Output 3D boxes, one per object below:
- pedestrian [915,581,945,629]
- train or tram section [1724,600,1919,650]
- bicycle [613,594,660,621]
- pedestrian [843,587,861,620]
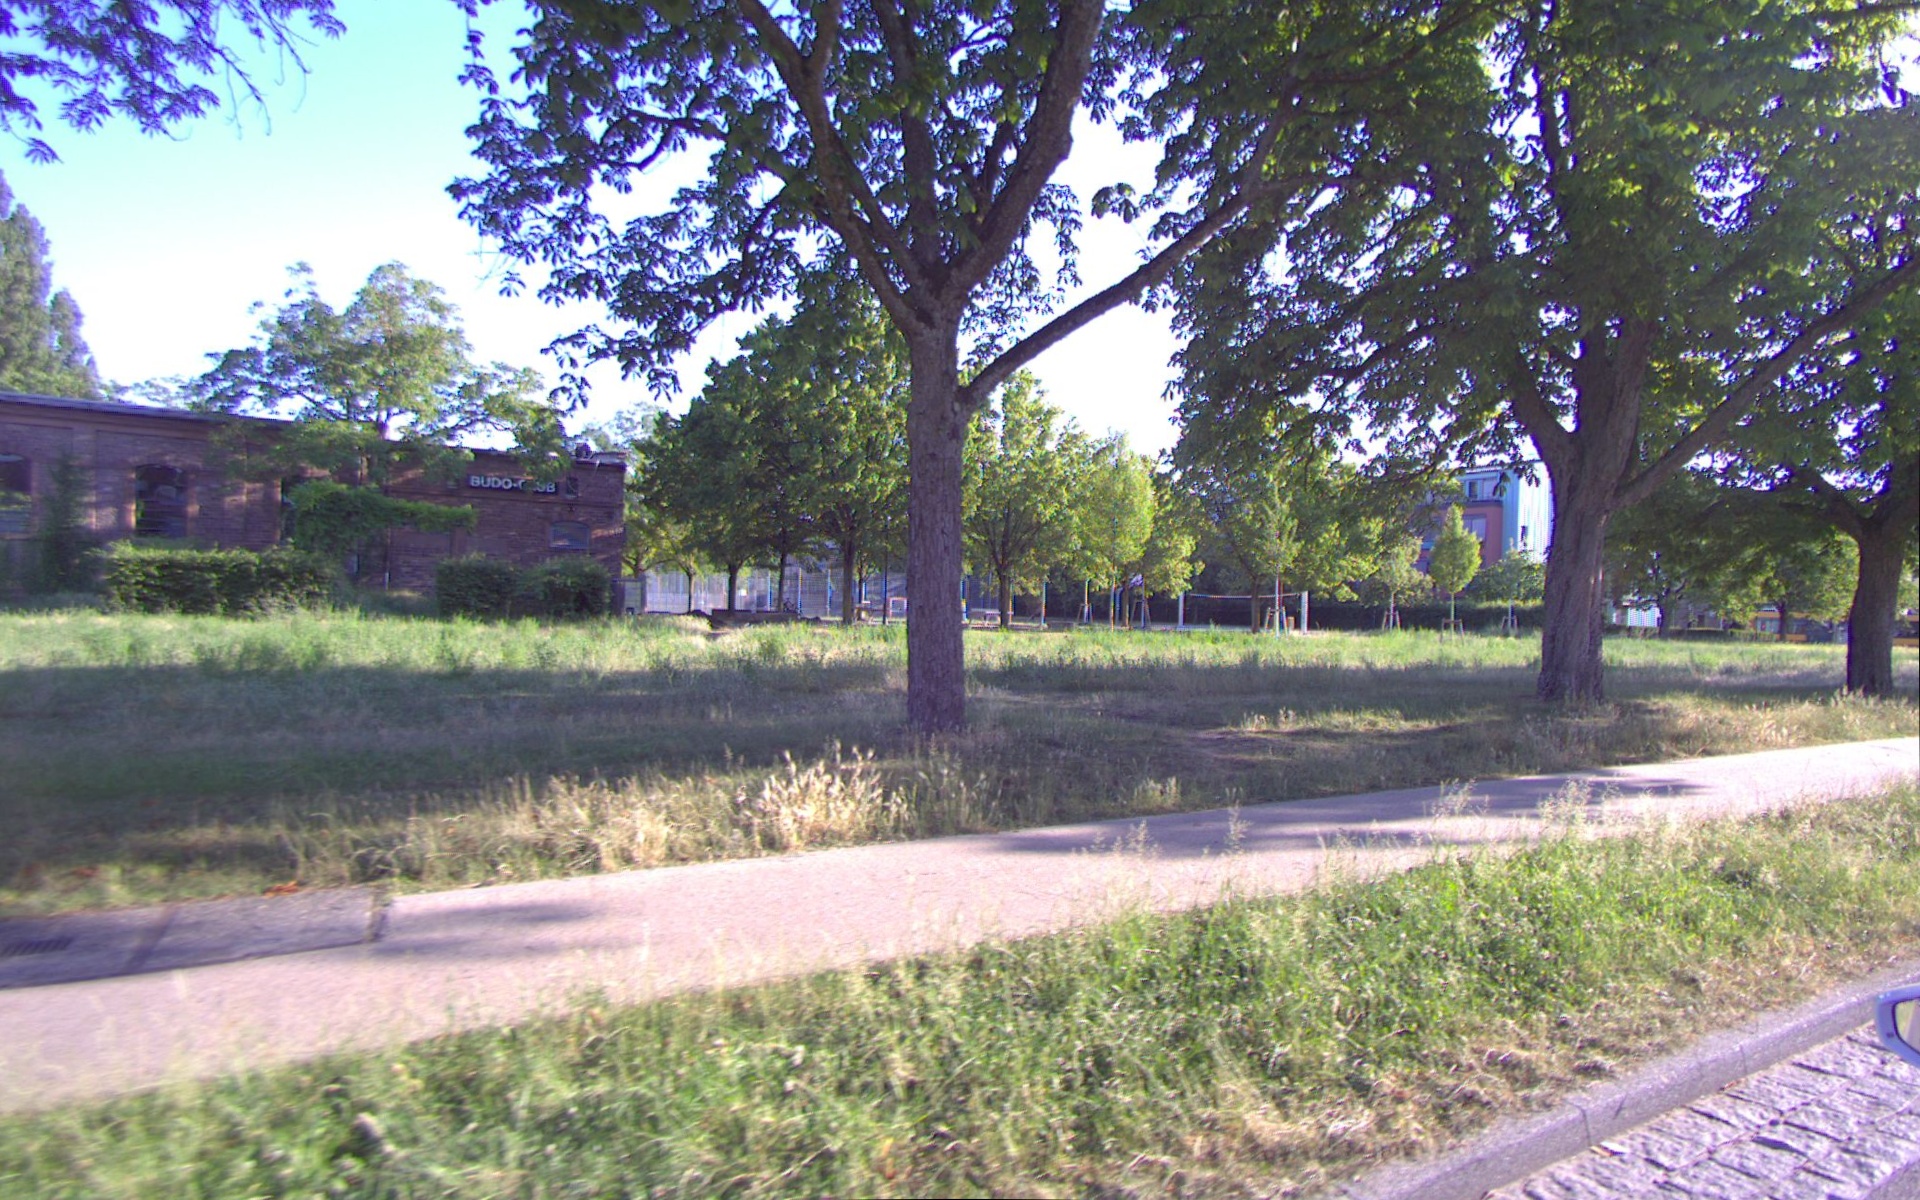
[{"bbox_3d":[-1.243,0.193,41.094,0.787,1.906,1.044,2,1,-28],"label":"pedestrian"},{"bbox_3d":[84.989,2.394,95.765,3.610,4.009,18.934,2,1,-36],"label":"train or tram section"},{"bbox_3d":[-16.081,0.391,49.907,2.123,1.287,0.681,2,1,-29],"label":"bicycle"},{"bbox_3d":[-4.992,0.180,46.446,0.497,1.498,0.583,2,1,-39],"label":"pedestrian"}]
